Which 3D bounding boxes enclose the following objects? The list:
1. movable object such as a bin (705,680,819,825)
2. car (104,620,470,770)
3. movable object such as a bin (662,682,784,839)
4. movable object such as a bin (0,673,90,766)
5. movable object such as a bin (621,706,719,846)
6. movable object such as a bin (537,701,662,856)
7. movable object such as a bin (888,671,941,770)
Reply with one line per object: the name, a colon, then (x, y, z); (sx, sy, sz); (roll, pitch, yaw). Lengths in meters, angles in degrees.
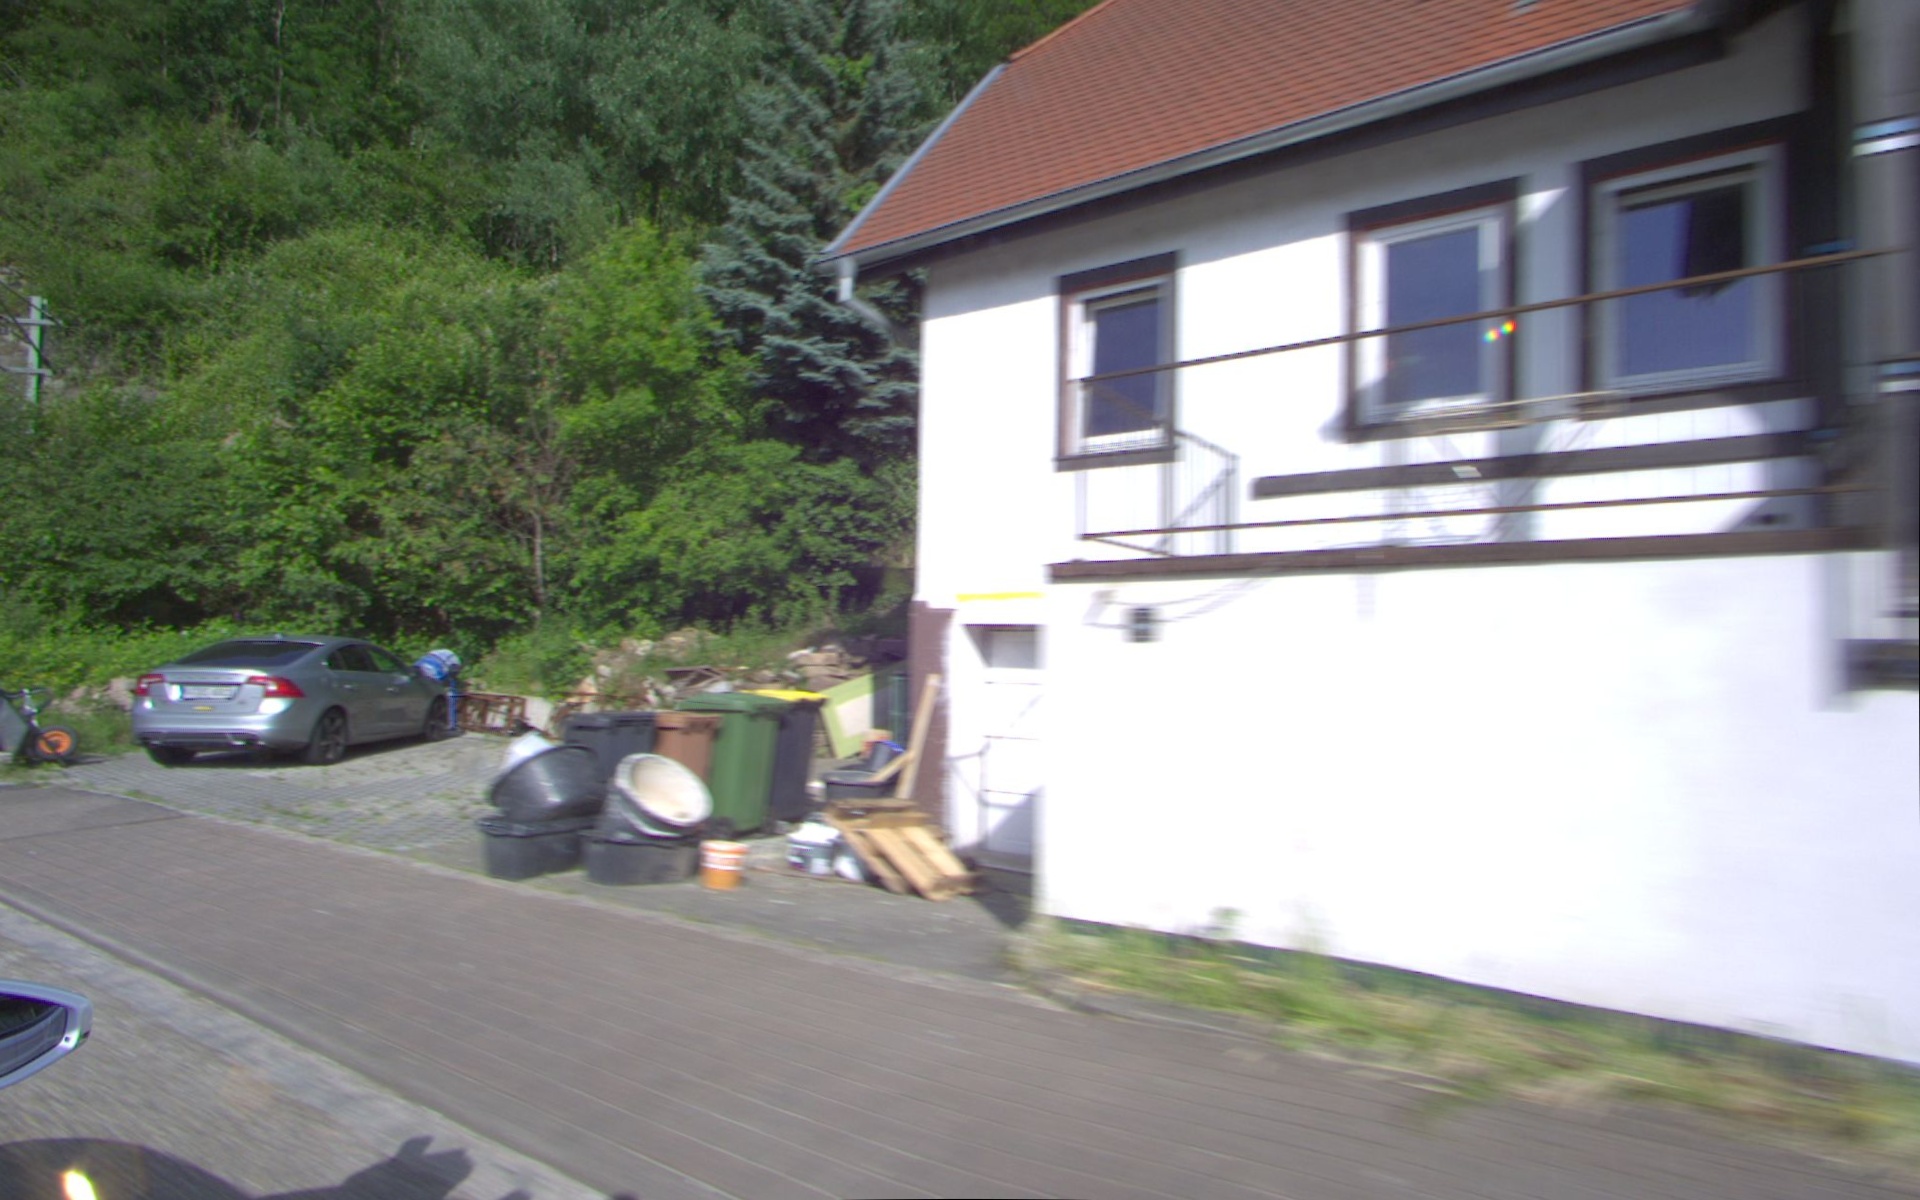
movable object such as a bin: (-1.586, 1.192, 8.023); (0.742, 1.075, 0.477); (0, -3, 32)
car: (-8.000, 1.072, 12.512); (1.802, 1.487, 4.331); (2, -2, -4)
movable object such as a bin: (-1.774, 1.168, 7.499); (0.742, 1.075, 0.477); (0, -3, 32)
movable object such as a bin: (-10.427, 1.249, 10.804); (2.502, 0.857, 0.854); (-1, -4, 32)
movable object such as a bin: (-2.051, 1.225, 7.095); (0.538, 0.911, 0.368); (0, -3, 25)
movable object such as a bin: (-2.429, 1.173, 6.754); (0.643, 0.948, 0.471); (0, -3, 32)
movable object such as a bin: (-0.520, 1.382, 11.601); (0.424, 1.096, 0.525); (1, -3, 18)
